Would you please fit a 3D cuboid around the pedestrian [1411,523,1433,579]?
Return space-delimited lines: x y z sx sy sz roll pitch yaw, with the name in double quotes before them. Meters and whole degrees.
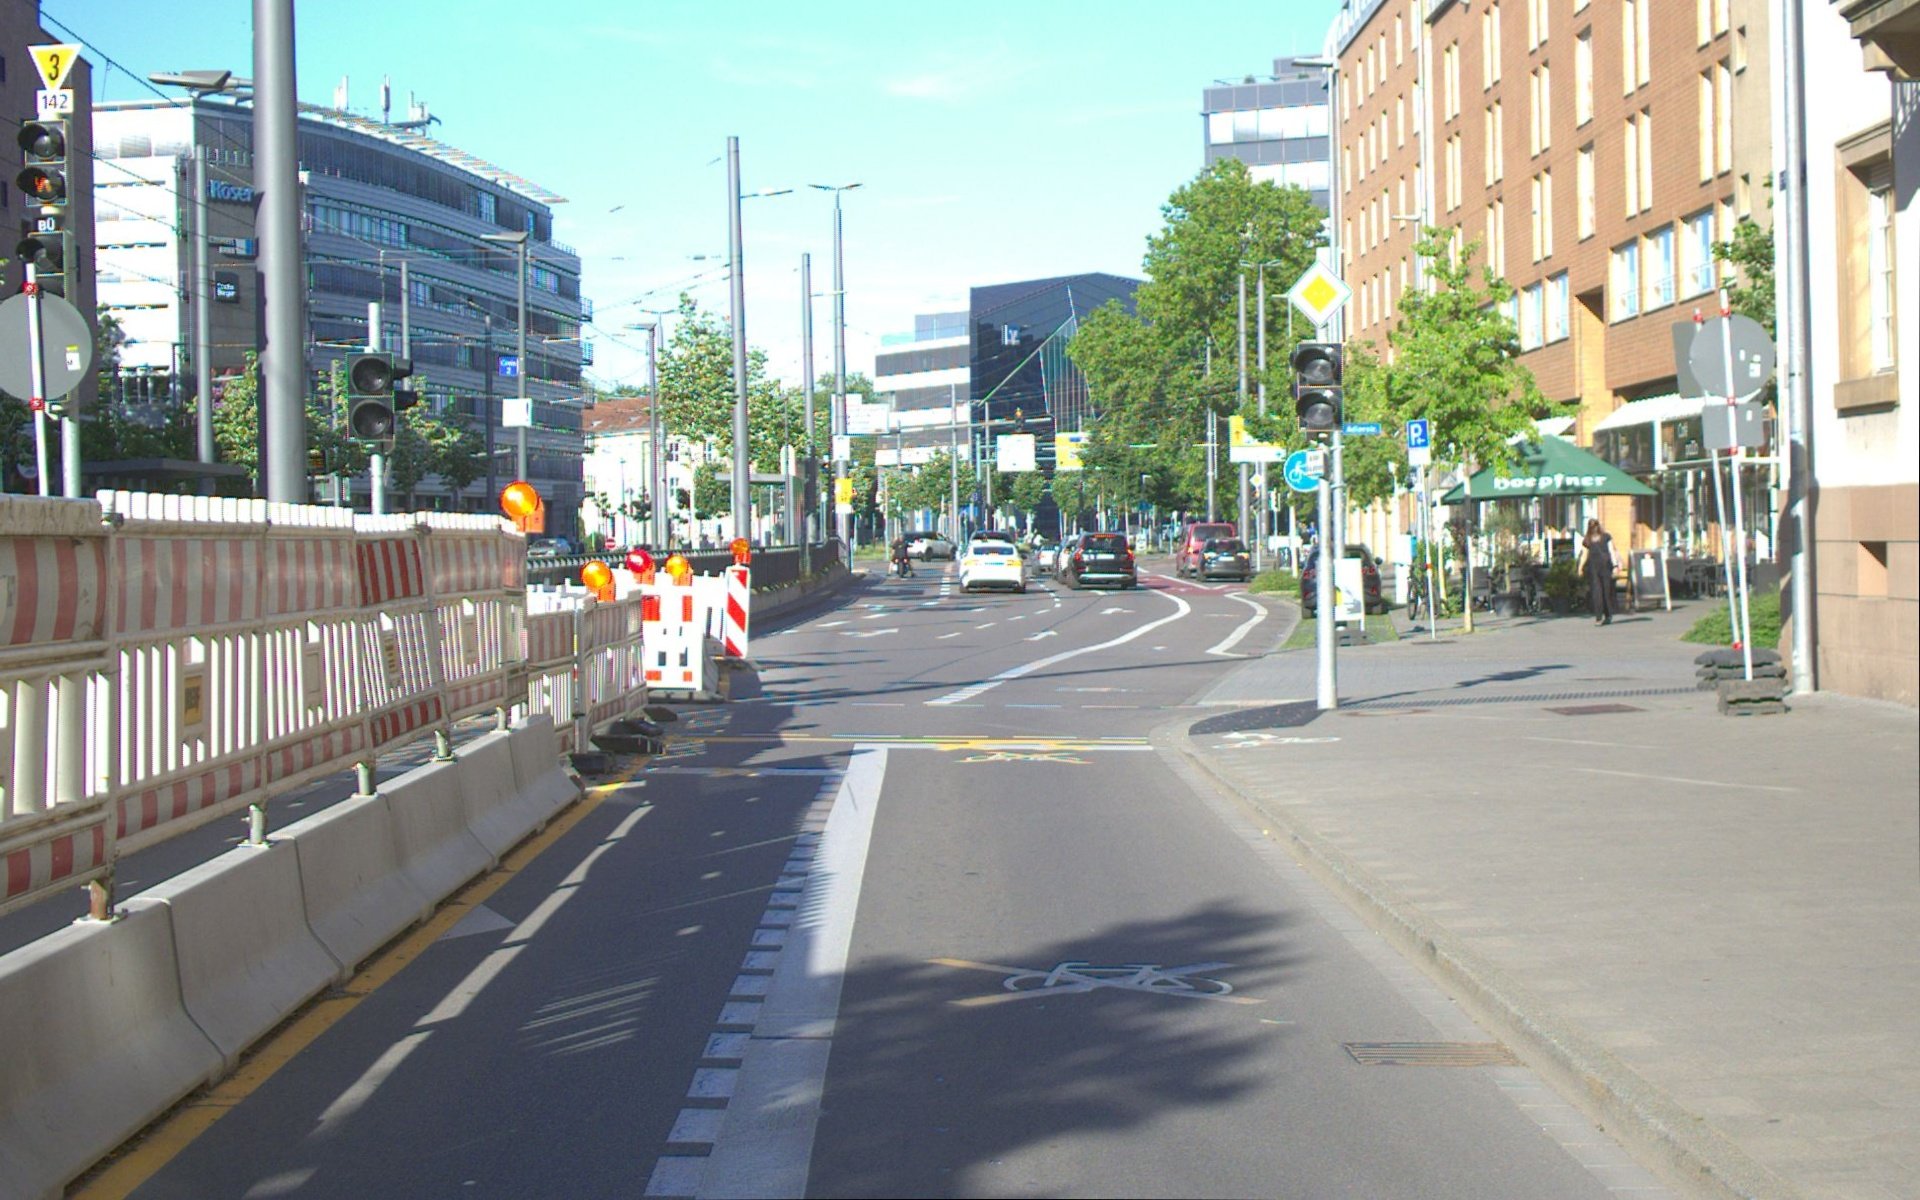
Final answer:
"pedestrian" 14.984 -1.584 111.516 0.606 1.815 0.748 1 0 -1

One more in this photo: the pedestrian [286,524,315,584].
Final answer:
"pedestrian" -15.956 -1.113 83.143 0.539 1.454 0.642 1 1 0

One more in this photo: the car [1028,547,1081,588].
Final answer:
"car" 3.515 -1.232 128.852 1.851 1.492 4.379 0 1 0

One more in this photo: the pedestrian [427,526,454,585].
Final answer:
"pedestrian" -14.988 -1.285 99.178 0.640 1.690 0.541 1 1 0

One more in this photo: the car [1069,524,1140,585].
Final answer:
"car" 4.350 -1.383 104.099 1.975 1.753 4.633 1 1 0

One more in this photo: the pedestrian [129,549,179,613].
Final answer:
"pedestrian" -15.187 -0.358 64.758 0.721 1.164 0.721 -3 1 0

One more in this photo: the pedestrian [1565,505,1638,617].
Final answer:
"pedestrian" 10.374 -0.632 55.540 0.885 1.757 1.104 -2 0 22

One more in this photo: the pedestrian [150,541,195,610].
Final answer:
"pedestrian" -15.292 -0.470 66.796 0.646 1.304 0.721 -3 1 0

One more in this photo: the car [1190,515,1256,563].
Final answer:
"car" 8.870 -2.065 116.251 1.846 1.555 4.633 1 1 0

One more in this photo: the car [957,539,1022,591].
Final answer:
"car" 0.815 -1.019 98.473 1.780 1.409 4.819 1 1 0

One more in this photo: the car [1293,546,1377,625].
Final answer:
"car" 8.177 -0.345 74.964 1.721 1.631 4.230 -1 1 6

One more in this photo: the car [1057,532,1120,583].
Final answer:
"car" 4.156 -1.378 111.739 1.851 1.634 4.379 0 1 0

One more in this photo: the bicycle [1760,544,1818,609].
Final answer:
"bicycle" 15.556 -0.448 64.532 0.613 1.165 1.537 -2 1 -3

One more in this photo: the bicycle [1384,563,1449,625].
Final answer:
"bicycle" 8.624 -0.113 65.031 0.765 1.077 1.998 -6 0 -3

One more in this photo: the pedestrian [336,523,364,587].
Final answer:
"pedestrian" -16.280 -1.195 91.723 0.622 1.709 0.616 0 1 0

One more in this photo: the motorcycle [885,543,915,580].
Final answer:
"motorcycle" -2.160 -1.391 124.161 1.019 1.307 2.914 1 1 0

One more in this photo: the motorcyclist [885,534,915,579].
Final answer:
"motorcyclist" -2.162 -1.564 124.172 1.019 1.598 1.148 1 1 0
